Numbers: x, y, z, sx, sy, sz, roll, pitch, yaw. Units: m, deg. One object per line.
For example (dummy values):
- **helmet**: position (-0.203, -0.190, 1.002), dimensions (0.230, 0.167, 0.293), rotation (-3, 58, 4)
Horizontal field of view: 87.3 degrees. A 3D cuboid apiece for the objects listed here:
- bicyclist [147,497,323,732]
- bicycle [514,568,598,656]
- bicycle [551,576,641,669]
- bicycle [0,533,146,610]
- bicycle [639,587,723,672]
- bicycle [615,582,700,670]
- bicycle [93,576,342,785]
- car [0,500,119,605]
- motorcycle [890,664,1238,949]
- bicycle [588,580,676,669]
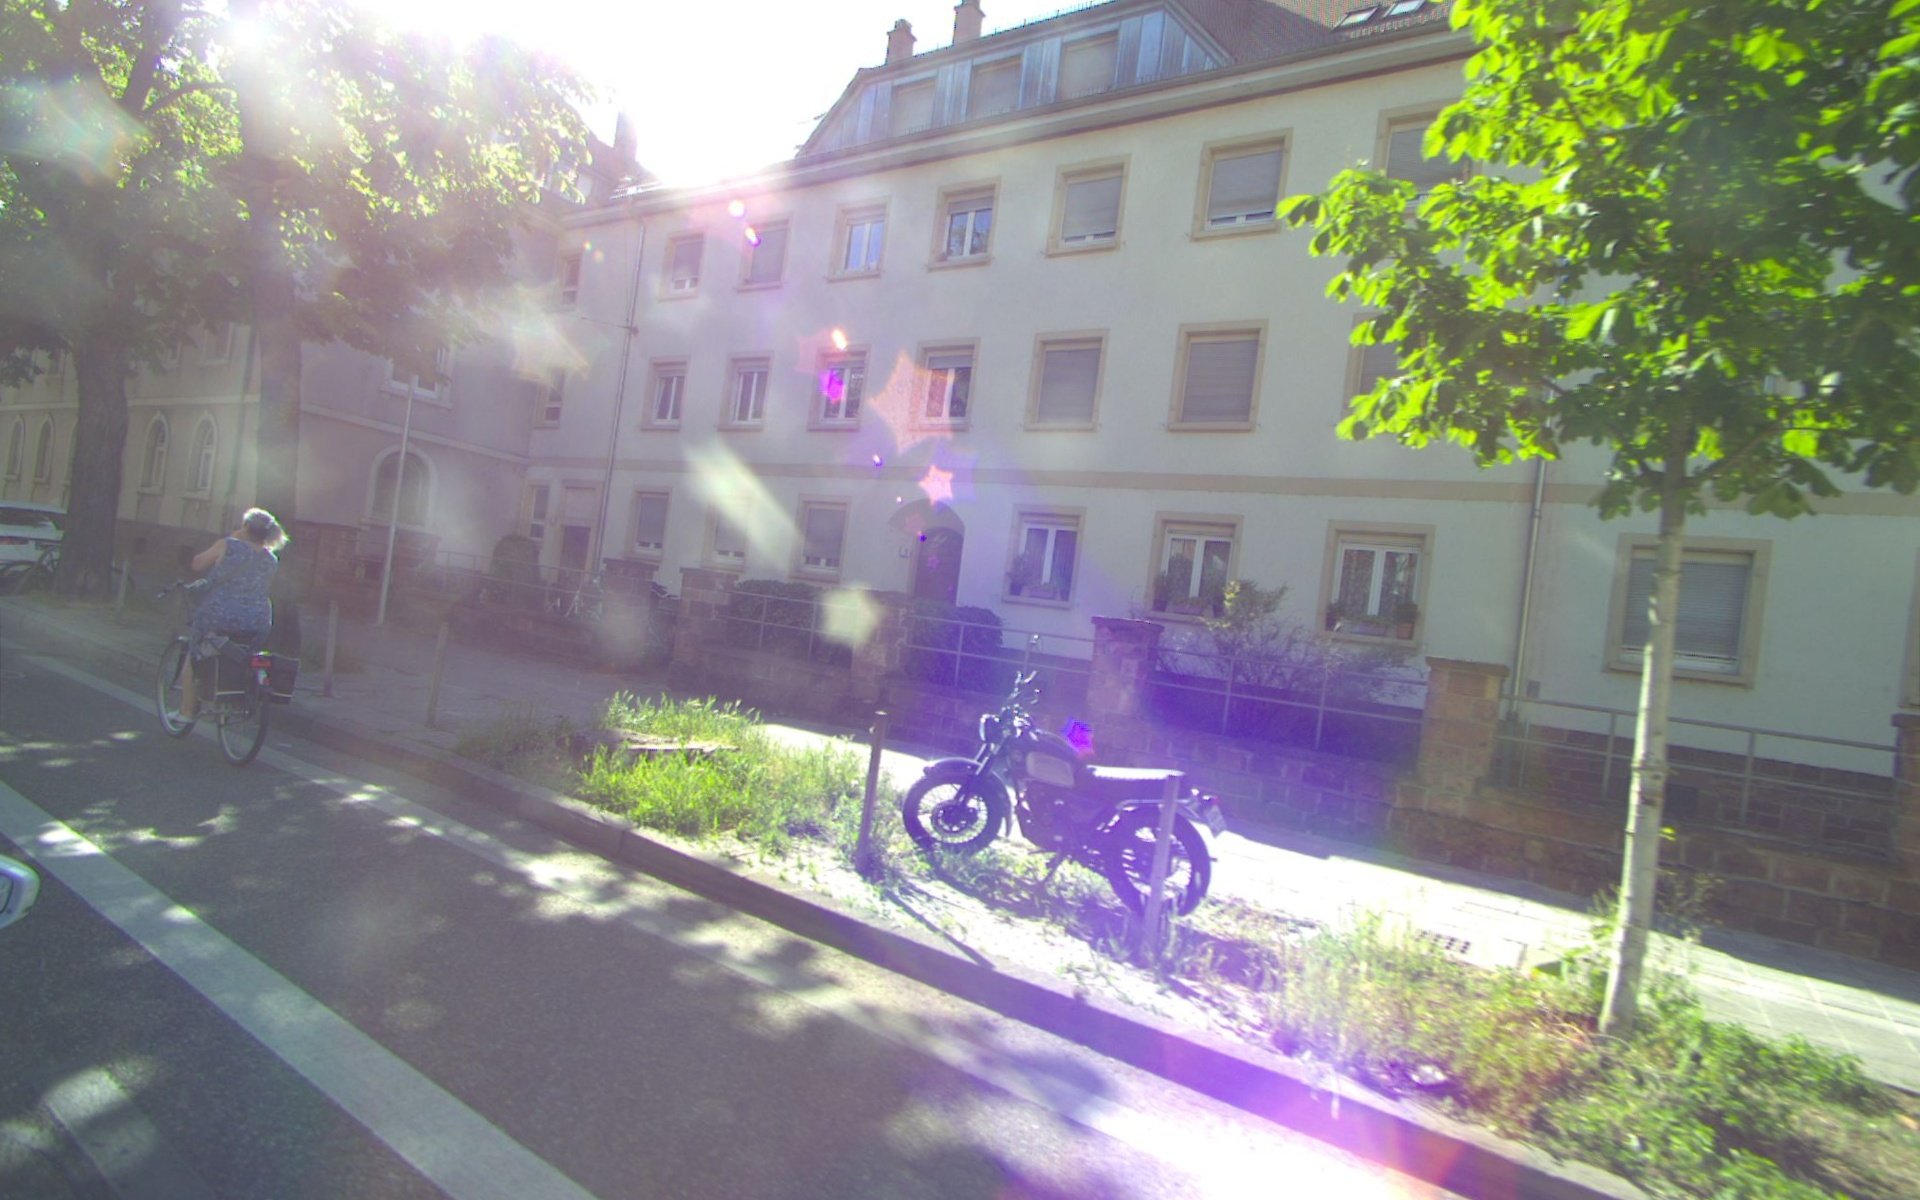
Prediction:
- **bicyclist**: position (-4.959, 0.109, 6.890), dimensions (0.606, 1.484, 0.636), rotation (7, -2, 34)
- **bicycle**: position (-6.554, 0.184, 16.300), dimensions (1.351, 1.237, 0.435), rotation (7, -1, 35)
- **bicycle**: position (-5.532, 0.333, 15.276), dimensions (1.351, 1.237, 0.435), rotation (7, -1, 35)
- **bicycle**: position (-13.948, -0.433, 15.683), dimensions (0.610, 1.032, 1.793), rotation (7, 1, 34)
- **bicycle**: position (-4.659, 0.478, 16.753), dimensions (1.351, 1.237, 0.435), rotation (7, -1, 35)
- **bicycle**: position (-4.927, 0.416, 16.355), dimensions (1.351, 1.237, 0.435), rotation (7, -1, 35)
- **bicycle**: position (-5.177, 0.520, 6.973), dimensions (1.887, 1.125, 0.693), rotation (7, -2, 35)
- **car**: position (-16.278, -0.941, 17.059), dimensions (4.587, 1.453, 1.631), rotation (7, 0, 31)
- **motorcycle**: position (0.559, 1.105, 5.803), dimensions (1.829, 1.207, 0.495), rotation (7, 4, 27)
- **bicycle**: position (-5.205, 0.378, 15.933), dimensions (1.351, 1.237, 0.435), rotation (7, -1, 35)
